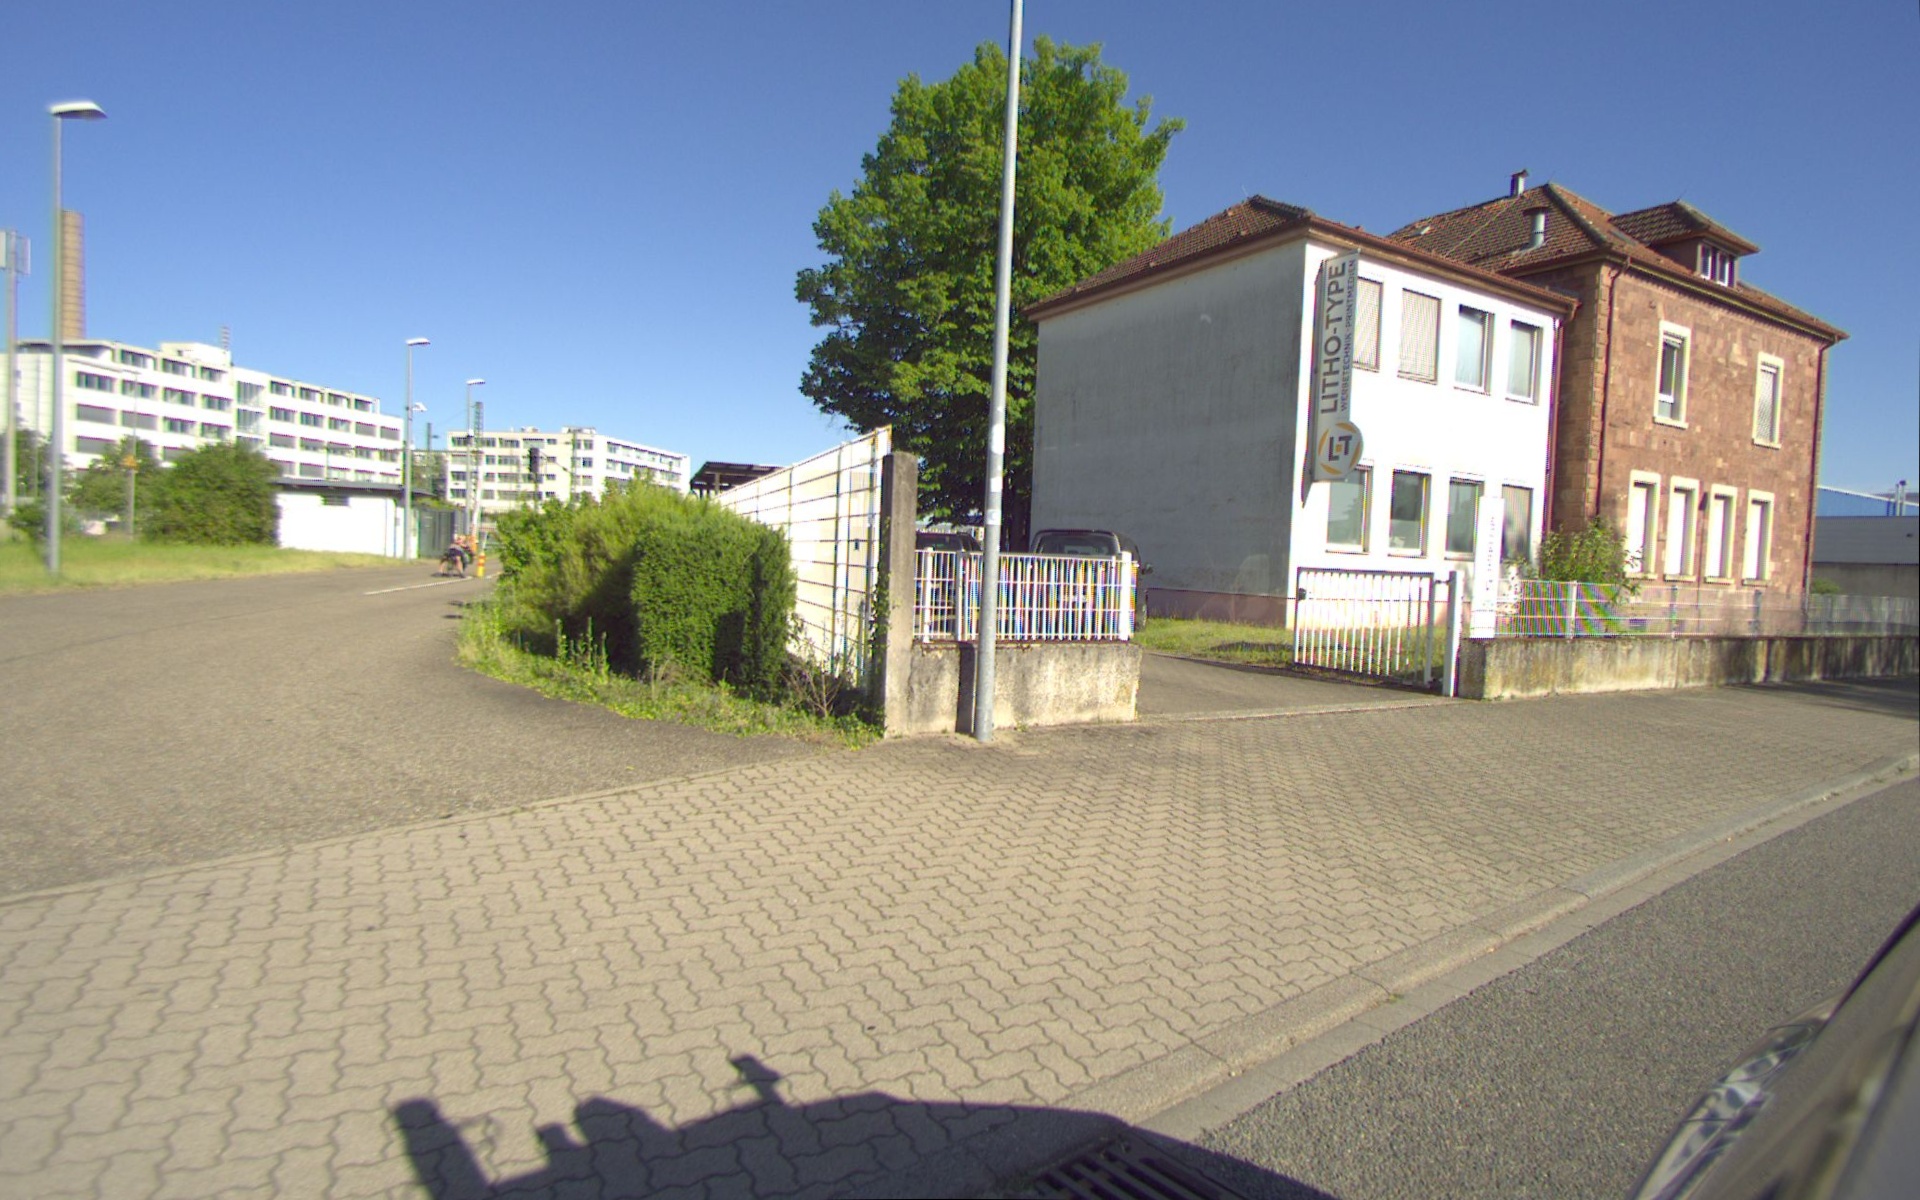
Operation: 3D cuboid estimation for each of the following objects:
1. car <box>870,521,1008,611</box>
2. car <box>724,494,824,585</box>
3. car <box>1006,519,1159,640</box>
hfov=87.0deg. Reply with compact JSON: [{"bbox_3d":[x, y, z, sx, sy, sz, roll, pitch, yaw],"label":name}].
[{"bbox_3d":[-0.367,-0.821,23.488,1.972,1.799,4.345,3,3,16],"label":"car"},{"bbox_3d":[-5.958,-1.938,31.952,1.800,2.572,5.046,1,3,-25],"label":"car"},{"bbox_3d":[2.310,-0.428,17.982,1.972,1.799,4.345,3,3,16],"label":"car"}]
